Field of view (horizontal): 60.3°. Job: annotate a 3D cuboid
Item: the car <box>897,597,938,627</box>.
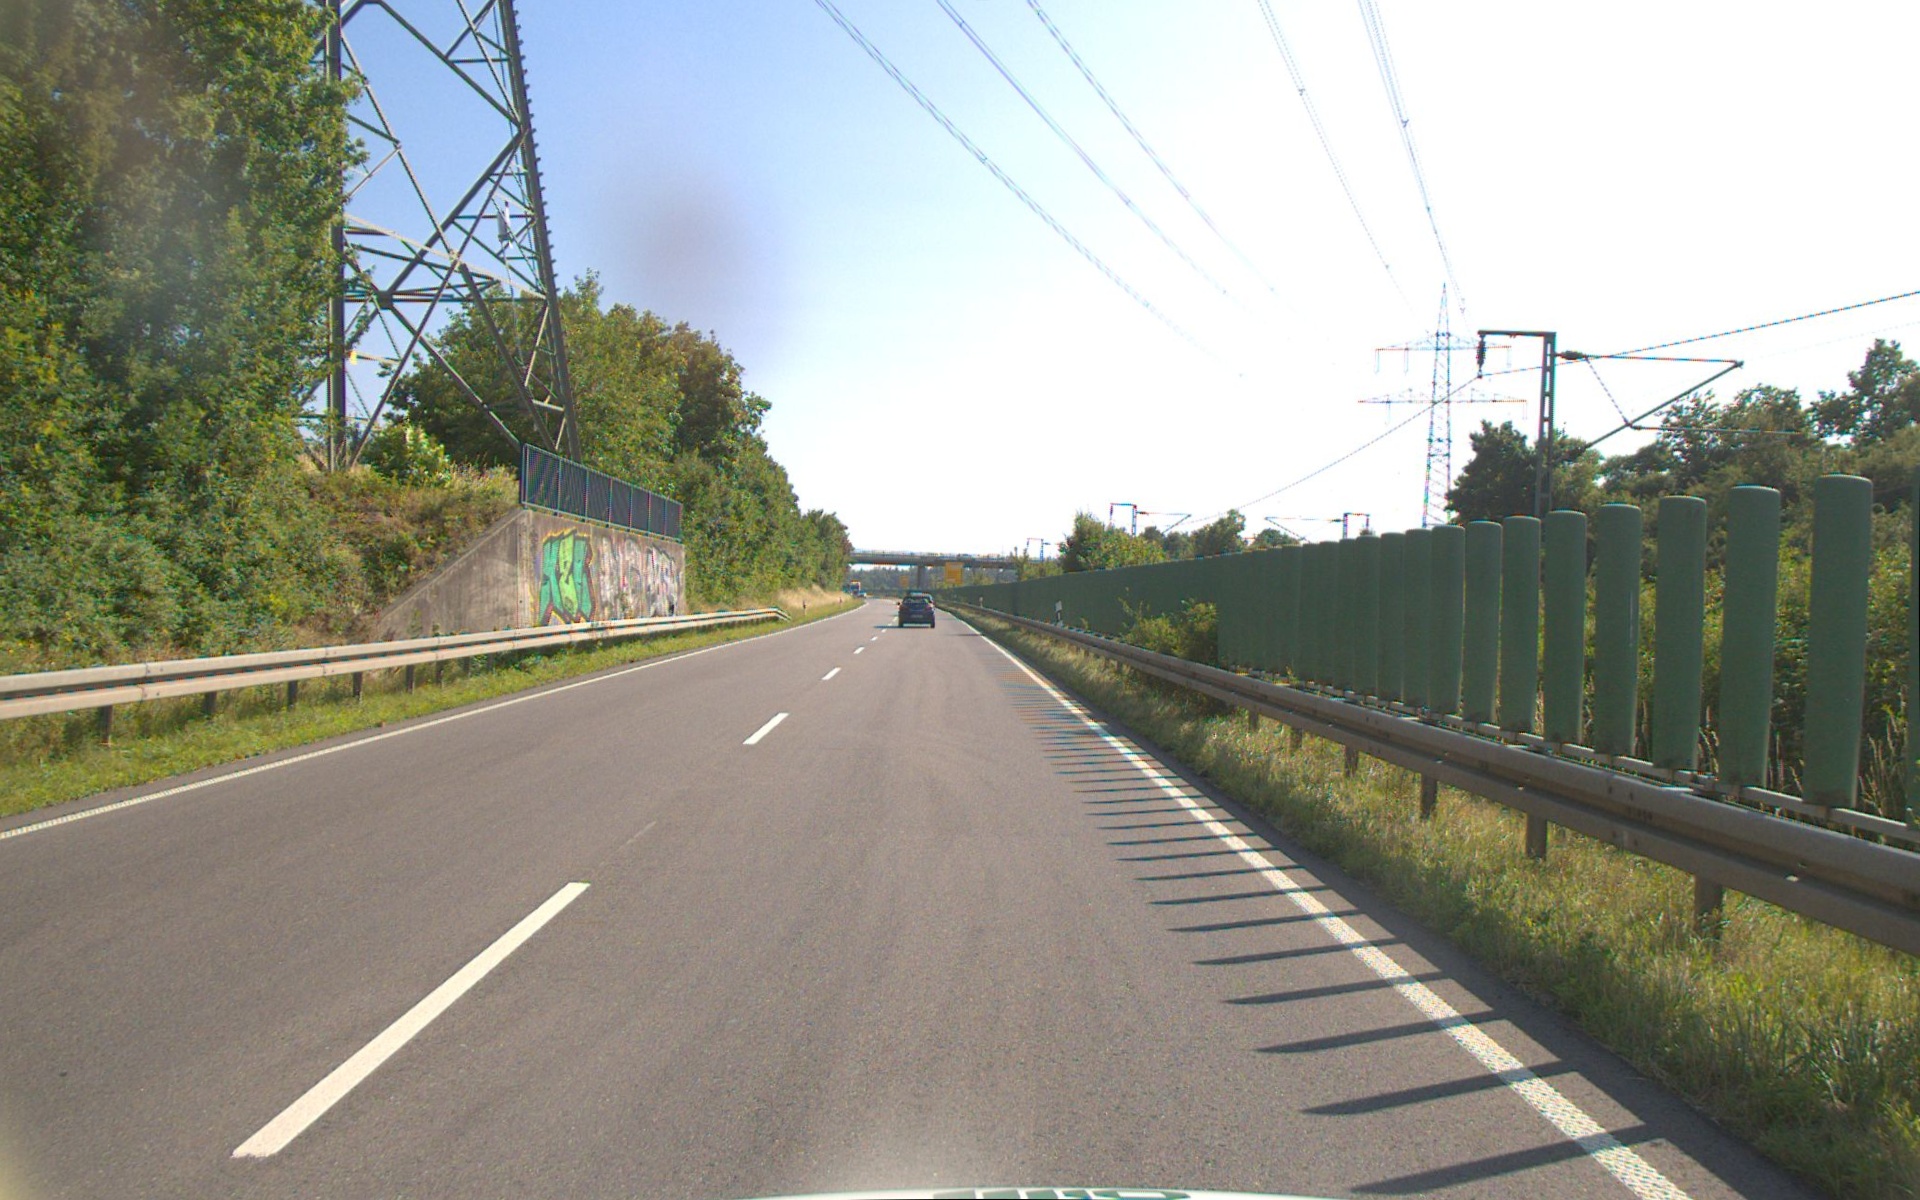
[{"bbox_3d":[-1.902,0.517,73.243,1.630,1.283,3.997,1,0,-4],"label":"car"}]
